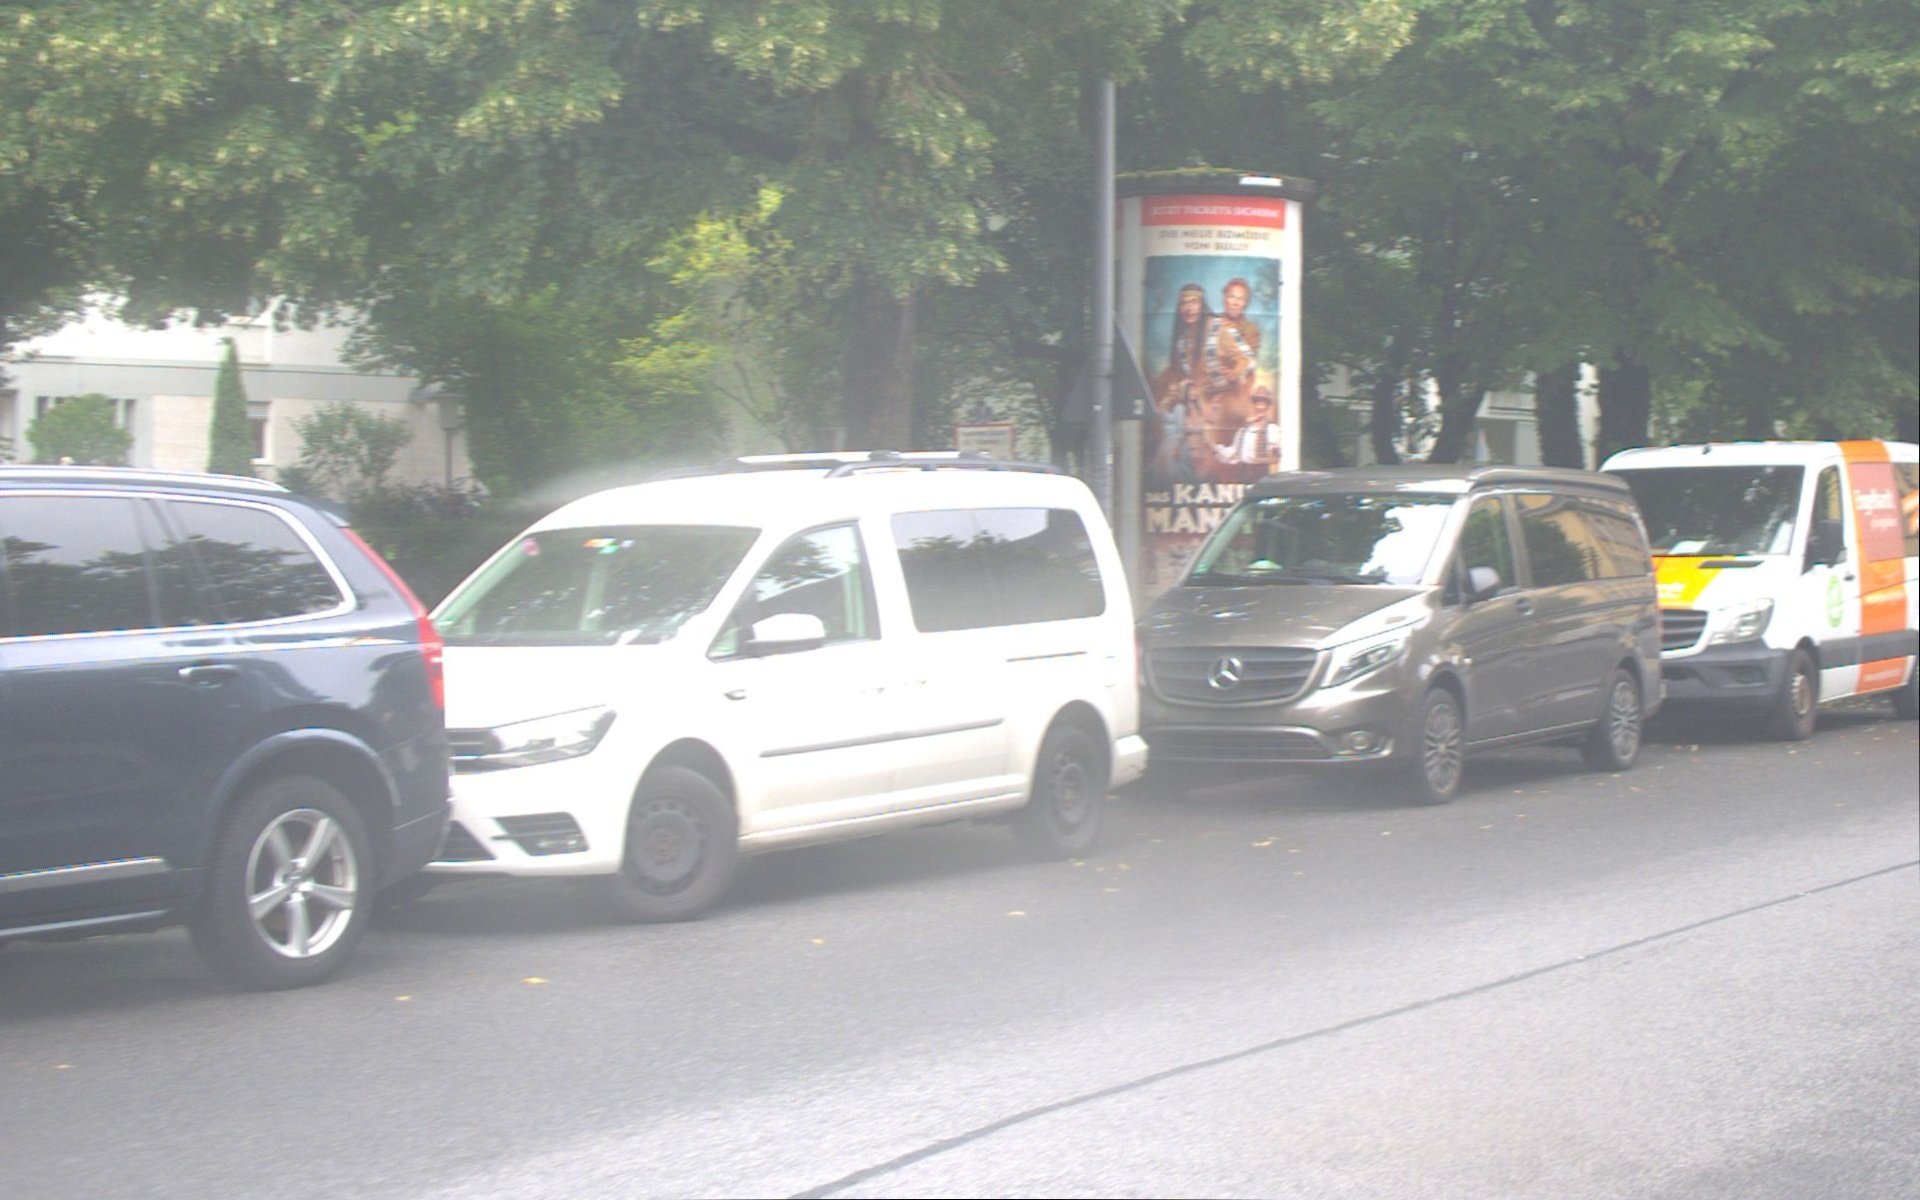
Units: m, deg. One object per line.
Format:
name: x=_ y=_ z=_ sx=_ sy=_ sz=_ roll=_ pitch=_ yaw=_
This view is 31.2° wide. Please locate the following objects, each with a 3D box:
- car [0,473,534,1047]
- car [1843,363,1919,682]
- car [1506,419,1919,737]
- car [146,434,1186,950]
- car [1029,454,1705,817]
car: x=-3.854 y=0.465 z=10.635 sx=2.088 sy=1.713 sz=5.295 roll=1 pitch=2 yaw=34
car: x=10.901 y=-0.784 z=34.734 sx=2.176 sy=2.992 sz=6.223 roll=1 pitch=2 yaw=30
car: x=6.418 y=-0.205 z=27.271 sx=2.087 sy=2.257 sz=5.593 roll=-1 pitch=1 yaw=32
car: x=-1.080 y=0.271 z=15.247 sx=2.087 sy=1.897 sz=4.850 roll=1 pitch=2 yaw=32
car: x=2.677 y=0.130 z=20.983 sx=2.029 sy=1.901 sz=5.658 roll=0 pitch=1 yaw=30
